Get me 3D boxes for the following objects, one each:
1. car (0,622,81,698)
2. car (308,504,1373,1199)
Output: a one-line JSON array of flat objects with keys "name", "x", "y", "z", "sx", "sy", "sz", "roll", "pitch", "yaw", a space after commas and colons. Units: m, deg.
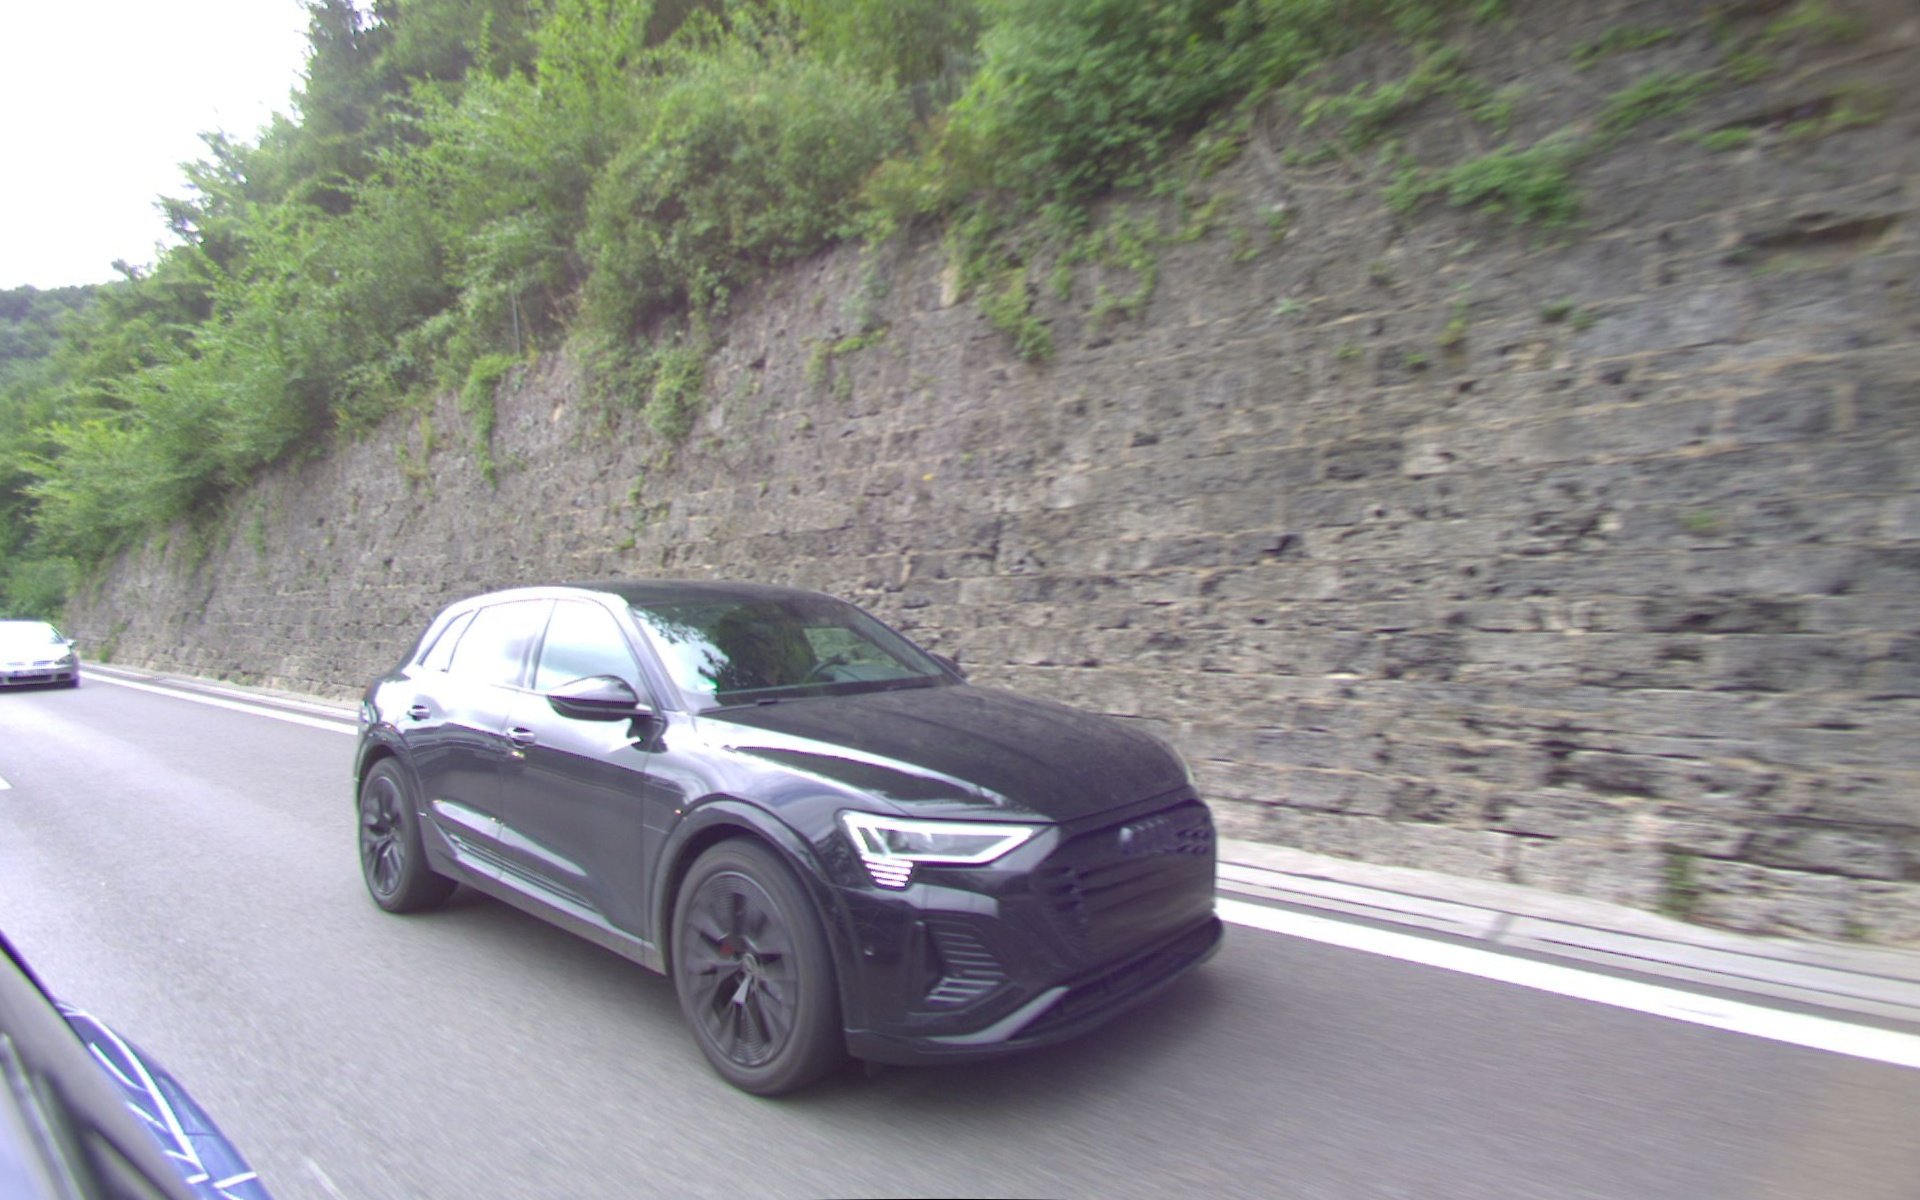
[{"name": "car", "x": -21.151, "y": 1.290, "z": 22.449, "sx": 4.577, "sy": 1.526, "sz": 1.665, "roll": -2, "pitch": 0, "yaw": 38}, {"name": "car", "x": -1.024, "y": 0.673, "z": 4.595, "sx": 5.006, "sy": 1.644, "sz": 1.973, "roll": -1, "pitch": -2, "yaw": 41}]
